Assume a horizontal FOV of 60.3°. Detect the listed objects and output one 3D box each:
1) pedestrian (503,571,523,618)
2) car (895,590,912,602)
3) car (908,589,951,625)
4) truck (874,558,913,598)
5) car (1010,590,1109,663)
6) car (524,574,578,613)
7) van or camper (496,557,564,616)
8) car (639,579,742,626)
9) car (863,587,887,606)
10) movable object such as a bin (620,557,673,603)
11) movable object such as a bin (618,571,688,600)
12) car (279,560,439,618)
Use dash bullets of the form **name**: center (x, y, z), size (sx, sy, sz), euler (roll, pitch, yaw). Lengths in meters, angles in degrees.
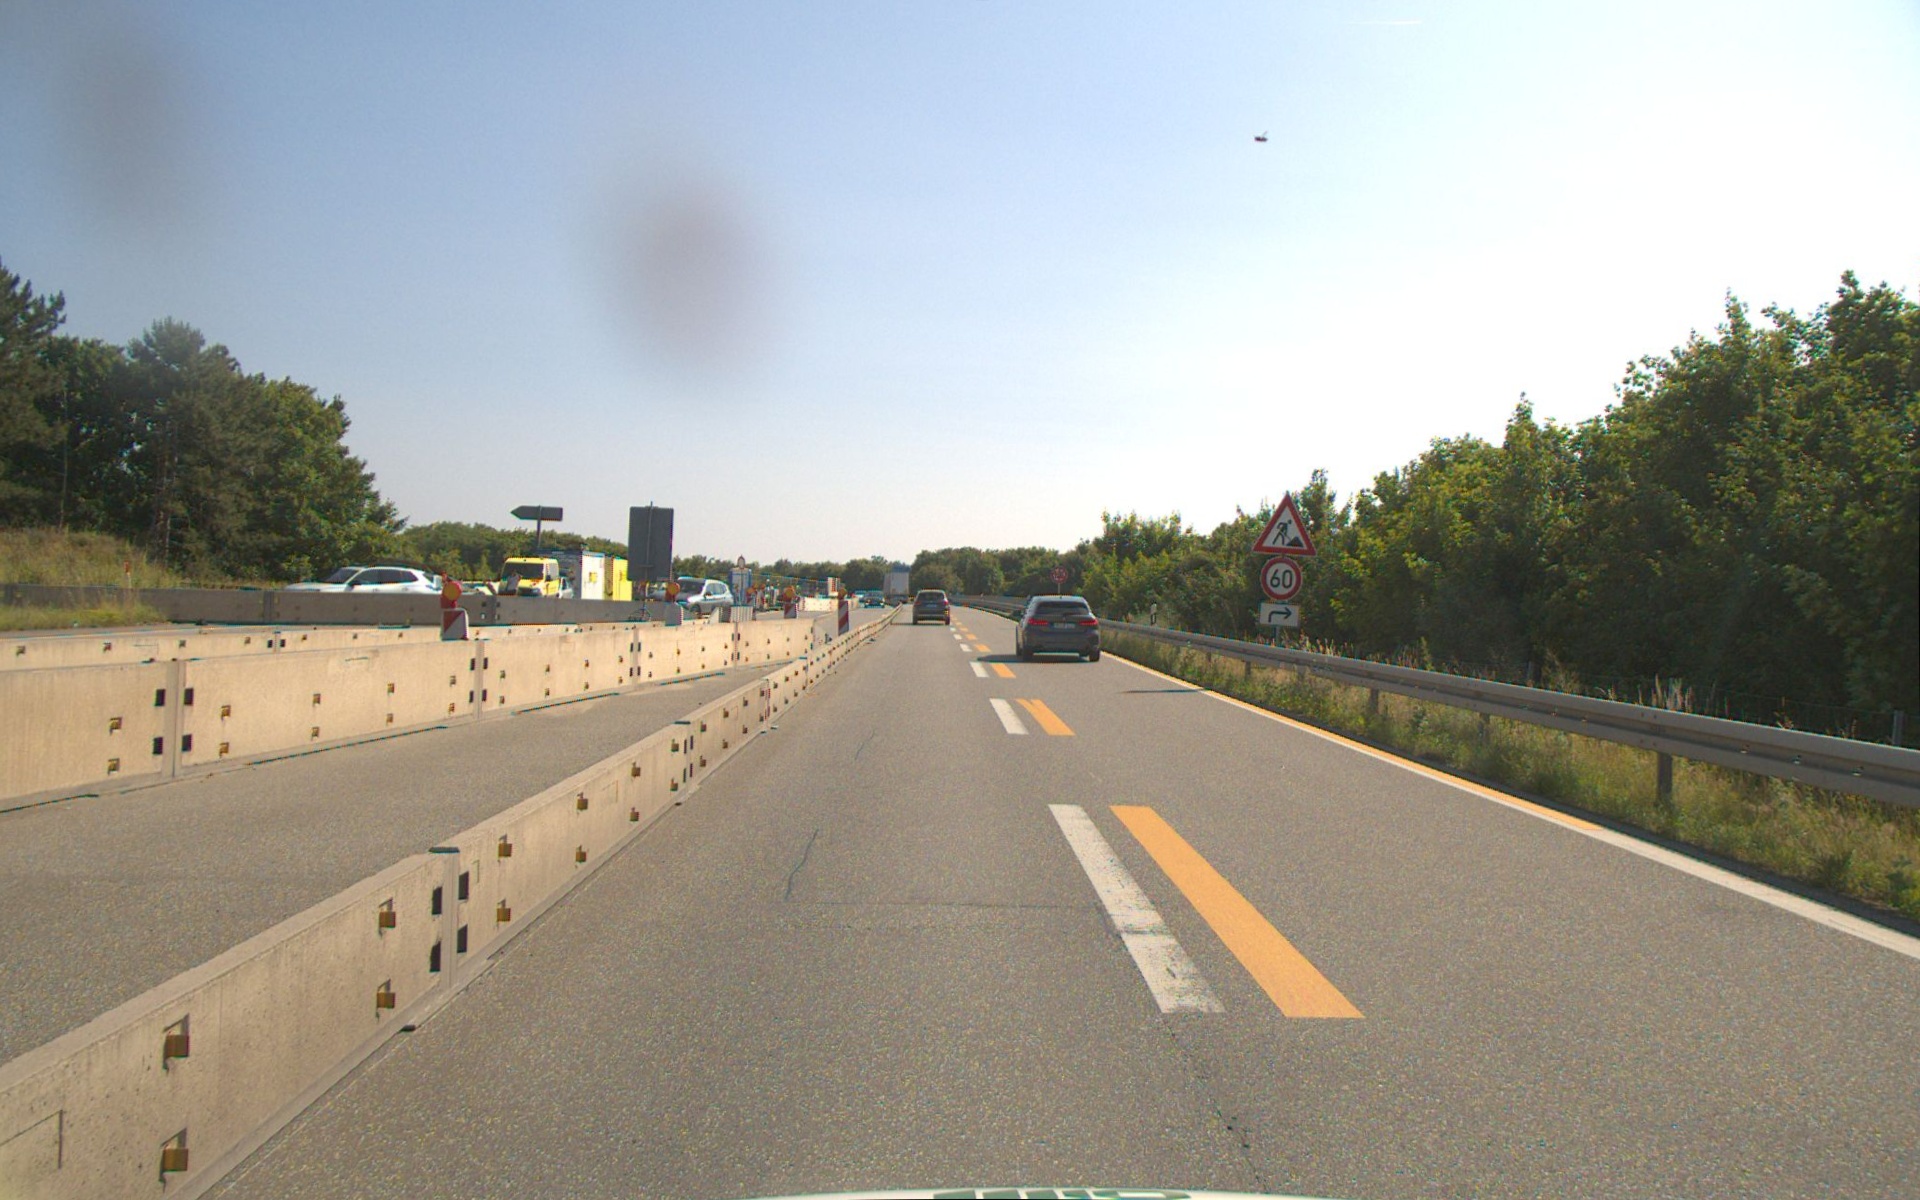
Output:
- **pedestrian**: center (-17.780, -0.231, 65.796), size (0.728, 1.852, 0.795), euler (1, 0, -12)
- **car**: center (-8.408, -0.555, 245.609), size (1.956, 1.717, 3.992), euler (2, 0, -9)
- **car**: center (-1.413, 0.319, 78.229), size (1.953, 1.594, 4.000), euler (1, 0, 0)
- **truck**: center (-8.753, -2.852, 215.975), size (3.690, 4.997, 14.114), euler (2, 0, -7)
- **car**: center (2.259, 0.569, 38.482), size (1.882, 1.520, 3.998), euler (2, 0, -2)
- **car**: center (-19.335, -0.308, 78.286), size (1.654, 1.715, 4.455), euler (2, 0, -4)
- **van or camper**: center (-18.830, -0.580, 72.665), size (1.955, 2.419, 6.192), euler (2, 0, -7)
- **car**: center (-10.127, 0.085, 62.535), size (1.951, 1.650, 4.851), euler (2, 0, 15)
- **car**: center (-7.373, -0.337, 143.409), size (1.821, 1.499, 4.684), euler (3, 1, -1)
- **movable object such as a bin**: center (-19.421, -1.225, 102.739), size (1.989, 2.763, 5.110), euler (1, 0, 4)
- **movable object such as a bin**: center (-25.443, -1.198, 137.151), size (5.279, 2.153, 2.239), euler (2, 0, 17)
- **car**: center (-17.601, -0.308, 48.542), size (1.925, 1.581, 3.977), euler (2, 0, 41)
